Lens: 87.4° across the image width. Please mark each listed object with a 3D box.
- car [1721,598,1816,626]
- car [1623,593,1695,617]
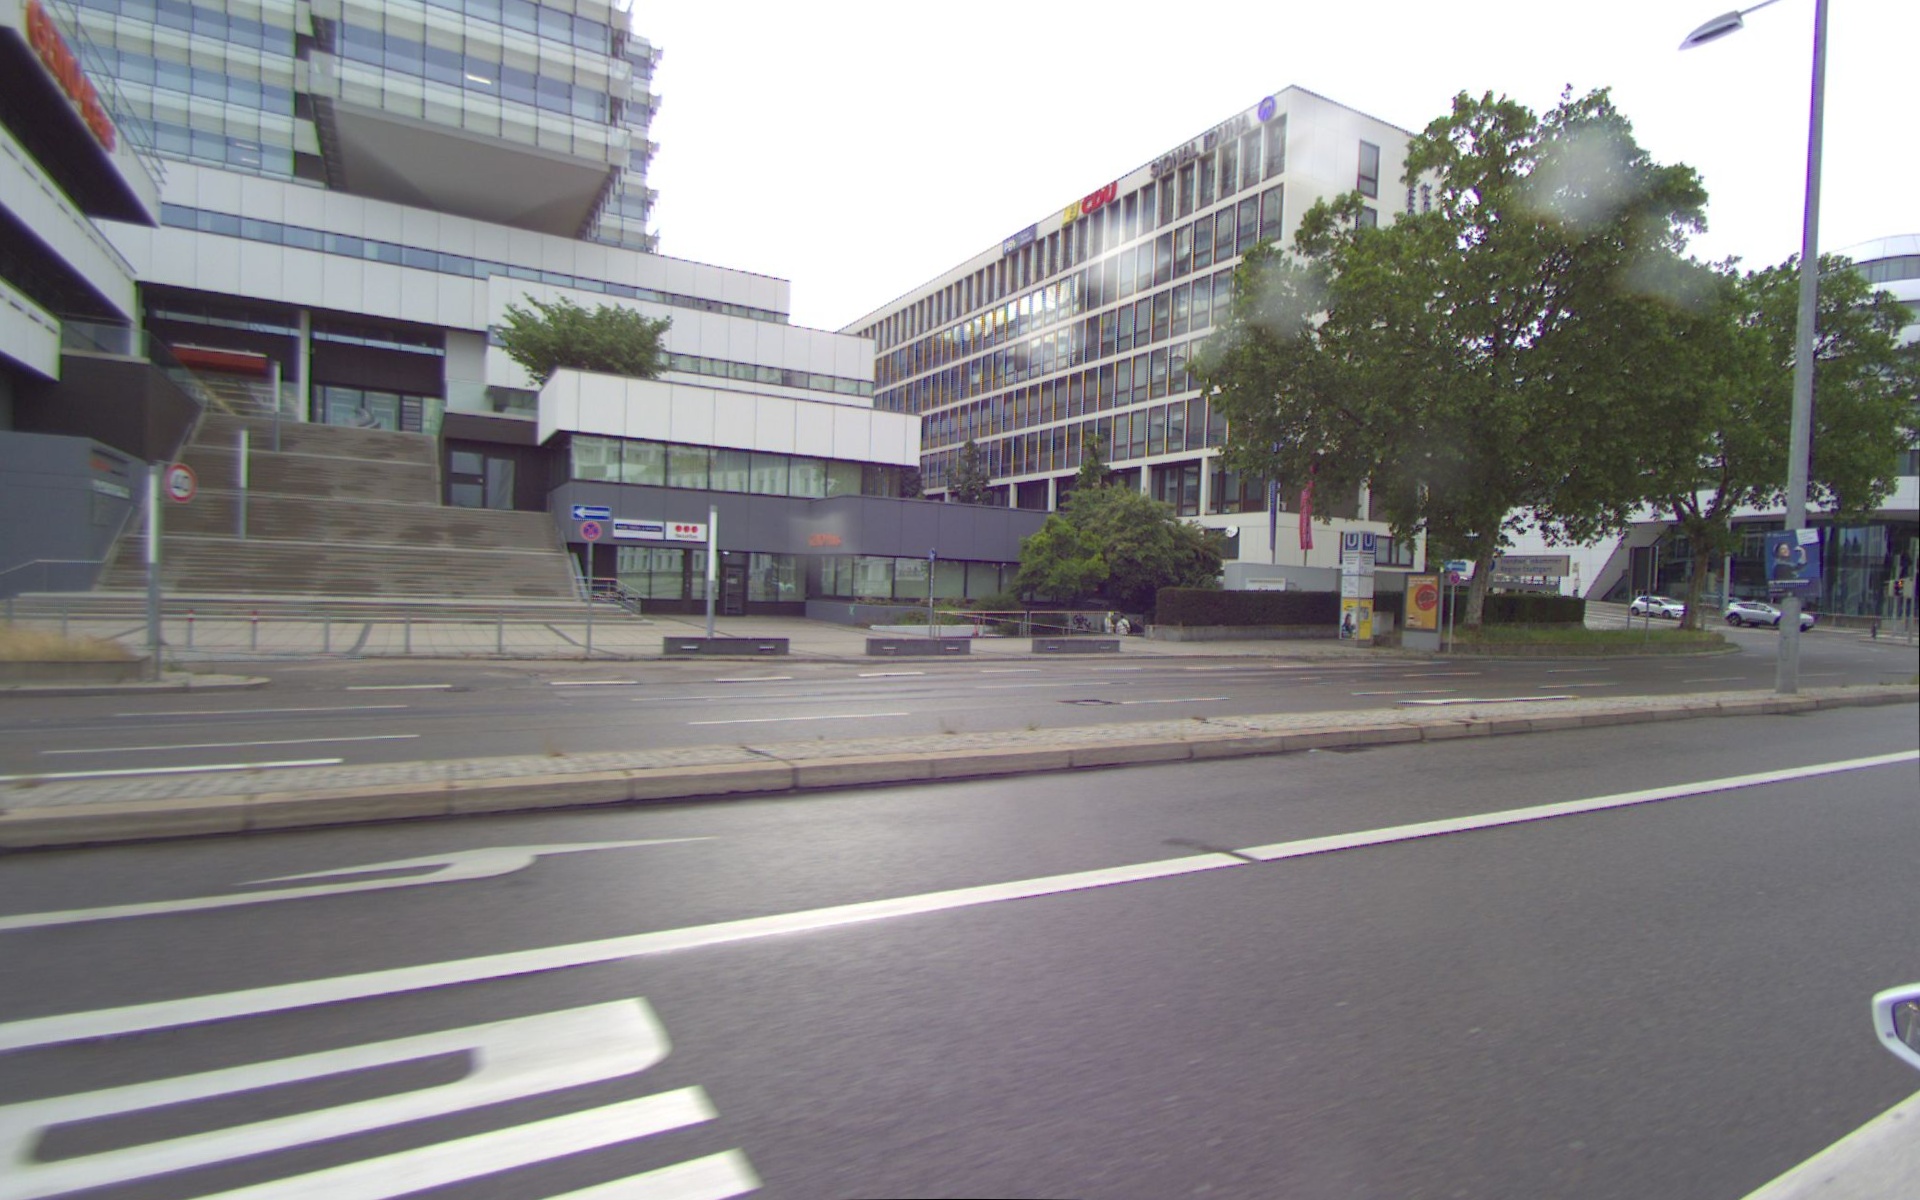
[{"bbox_3d":[51.519,0.723,64.120,1.862,1.653,4.505,2,0,-13],"label":"car"},{"bbox_3d":[50.051,0.344,72.027,1.862,1.653,3.990,2,0,-13],"label":"car"}]
